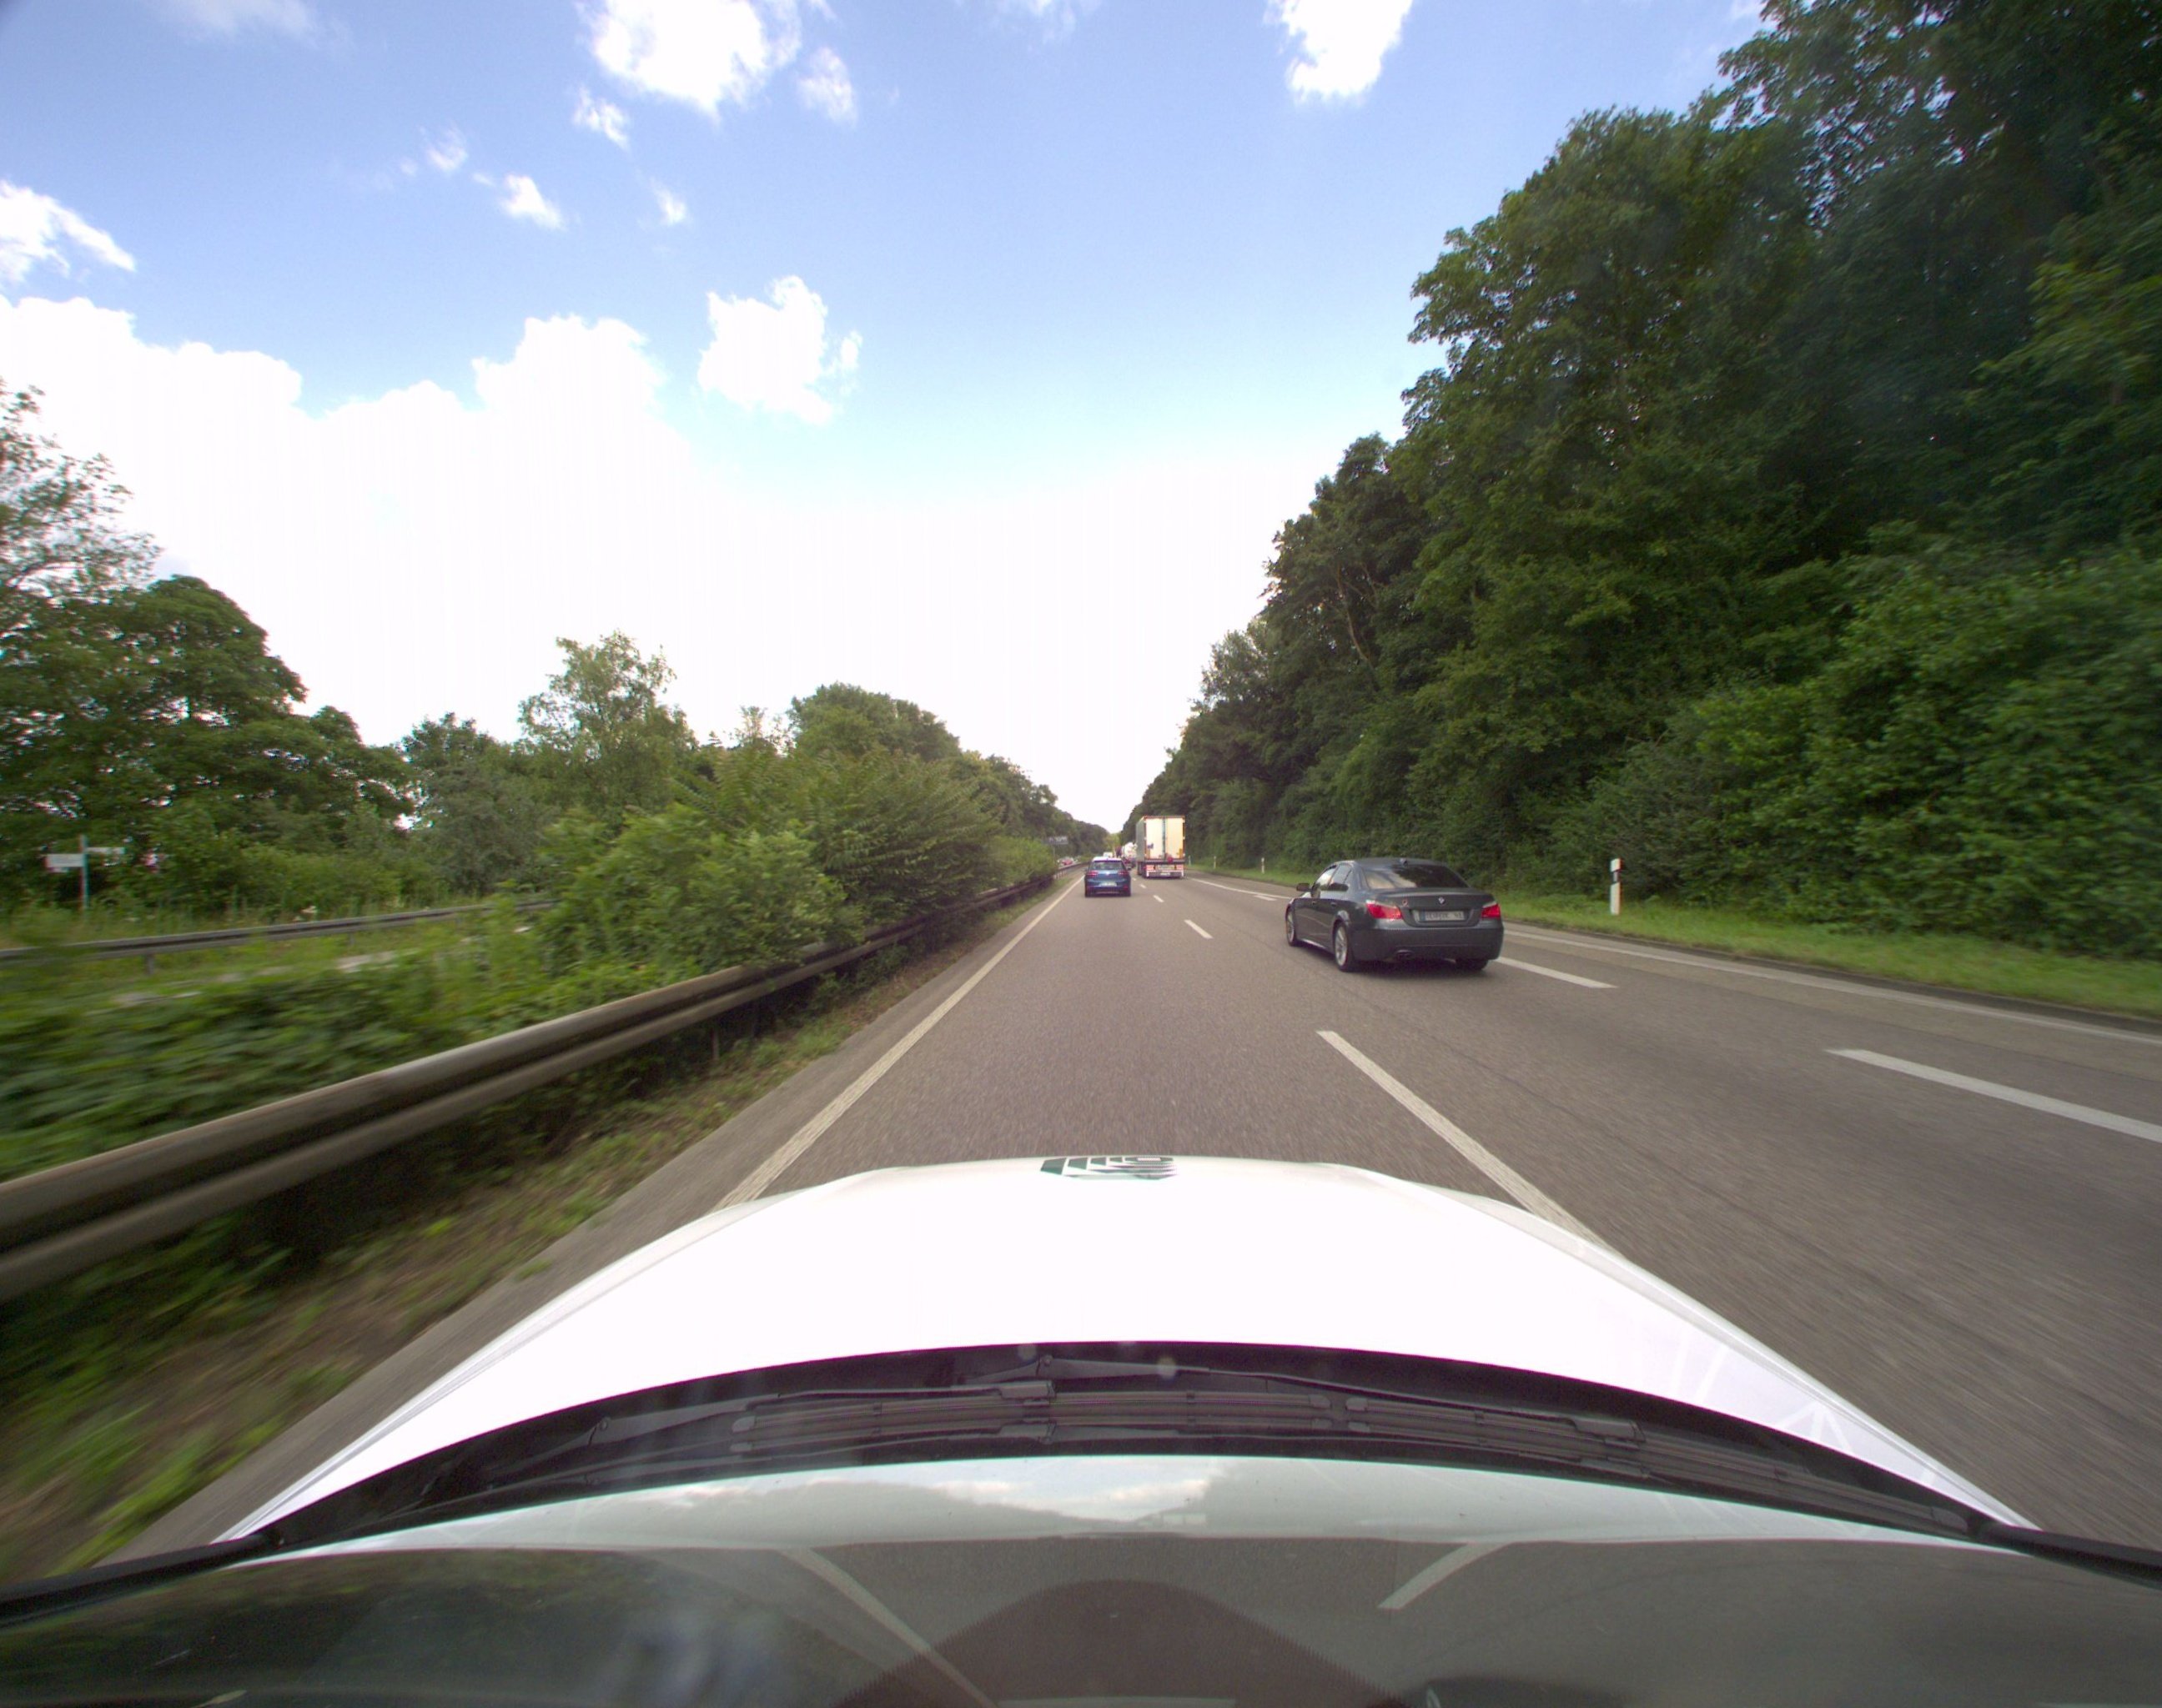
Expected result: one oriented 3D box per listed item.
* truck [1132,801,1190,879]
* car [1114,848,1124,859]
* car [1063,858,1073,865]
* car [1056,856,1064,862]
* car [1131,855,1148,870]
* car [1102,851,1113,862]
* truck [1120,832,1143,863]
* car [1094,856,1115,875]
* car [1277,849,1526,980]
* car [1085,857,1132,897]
[{"bbox_3d":[5.334,-0.868,56.275,3.229,4.716,11.013,-2,0,2],"label":"truck"},{"bbox_3d":[8.573,-0.103,184.427,1.987,2.327,4.440,-2,0,-1],"label":"car"},{"bbox_3d":[-2.715,1.544,171.010,1.671,1.454,4.130,-2,0,3],"label":"car"},{"bbox_3d":[-5.658,1.379,220.109,1.674,1.519,4.860,-2,0,1],"label":"car"},{"bbox_3d":[6.984,0.964,97.347,1.881,1.729,4.002,-2,0,2],"label":"car"},{"bbox_3d":[5.625,0.533,172.736,1.987,2.255,4.440,-2,0,-1],"label":"car"},{"bbox_3d":[7.624,-0.866,124.575,3.219,4.386,12.978,-1,-1,3],"label":"truck"},{"bbox_3d":[1.976,0.917,68.542,1.659,1.500,4.154,-1,0,2],"label":"car"},{"bbox_3d":[4.234,0.701,11.708,1.768,1.475,4.882,-1,0,1],"label":"car"},{"bbox_3d":[1.053,0.846,31.746,1.699,1.470,4.001,-1,0,1],"label":"car"}]
